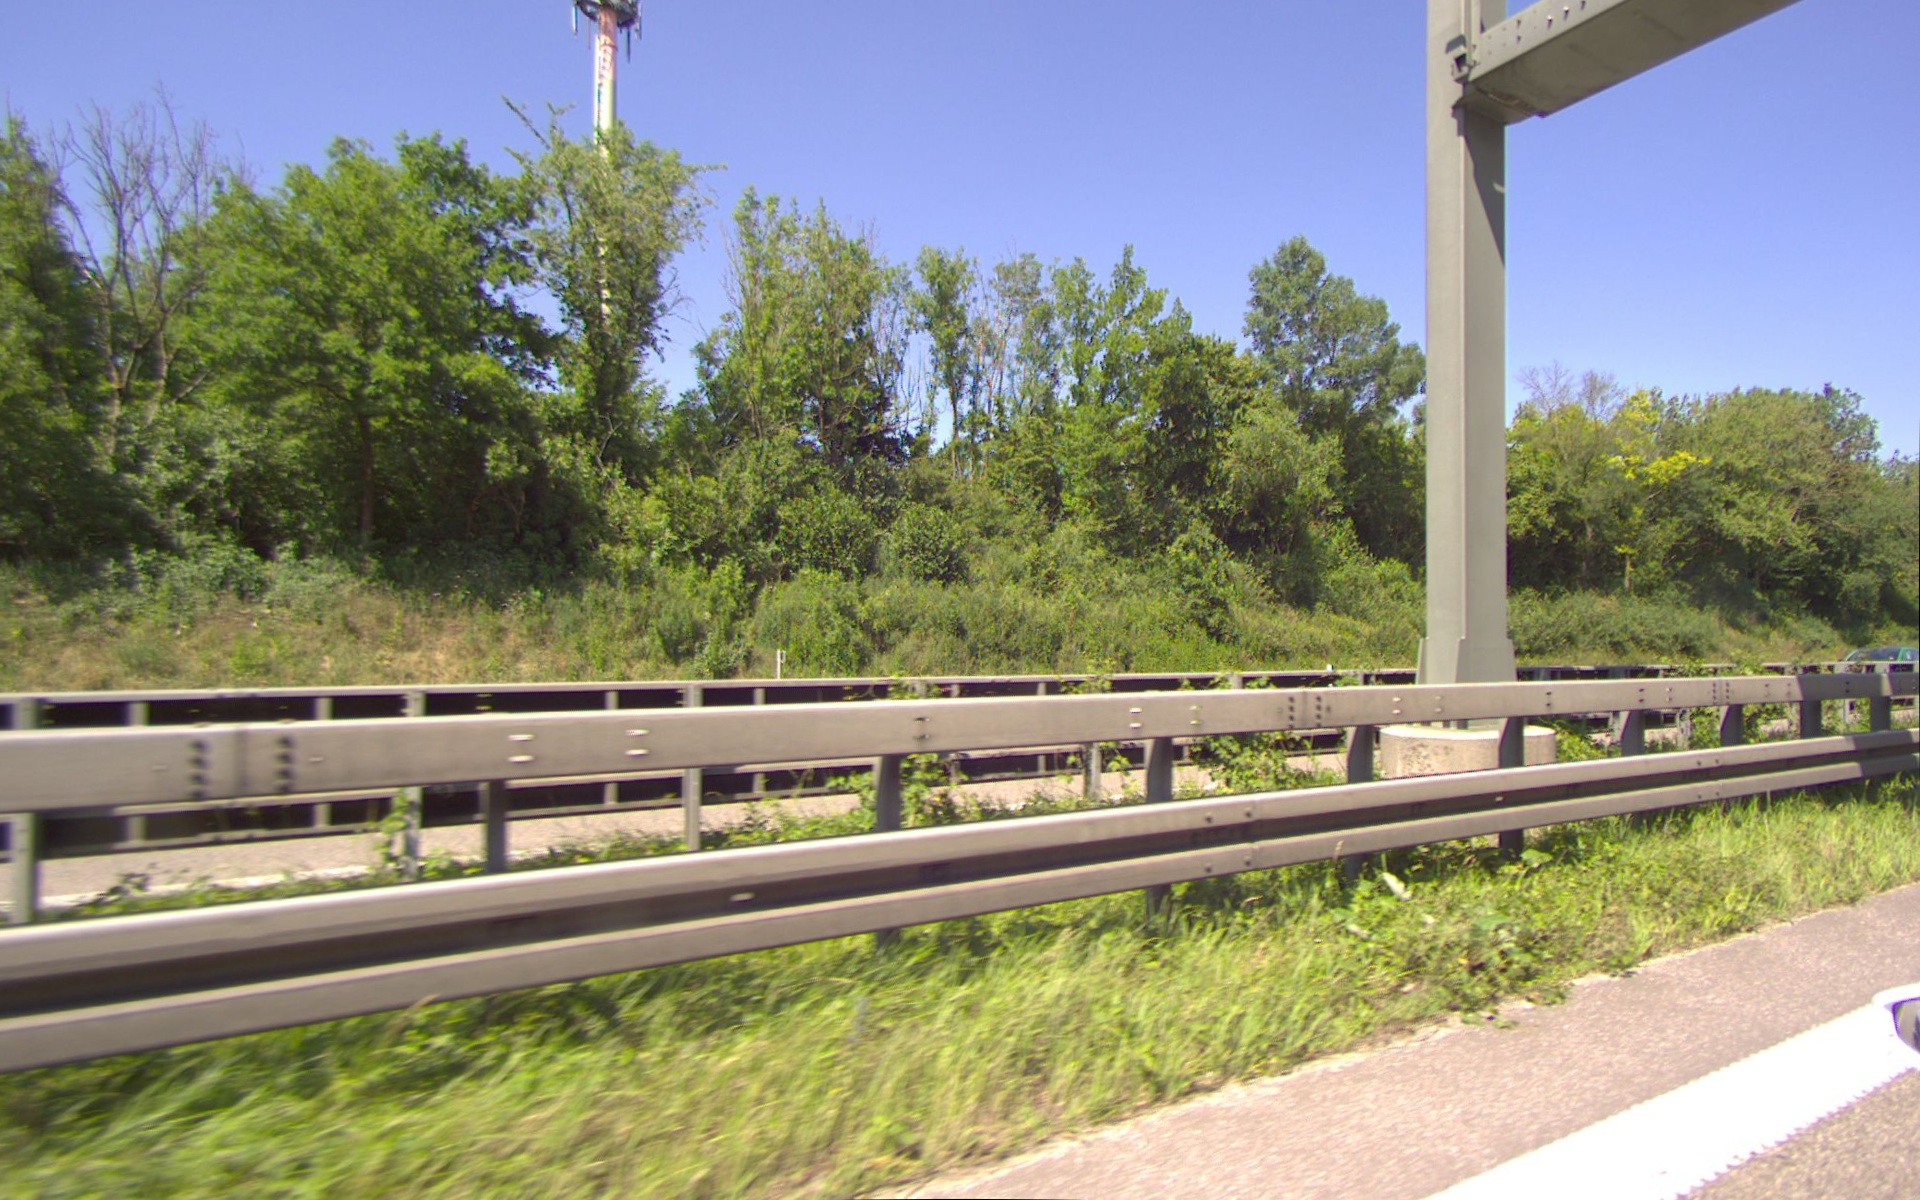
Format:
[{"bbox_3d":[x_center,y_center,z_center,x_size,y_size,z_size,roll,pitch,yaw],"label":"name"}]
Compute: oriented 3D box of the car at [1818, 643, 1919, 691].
[{"bbox_3d":[30.138,2.168,32.953,4.269,1.497,1.650,2,-4,-30],"label":"car"}]
